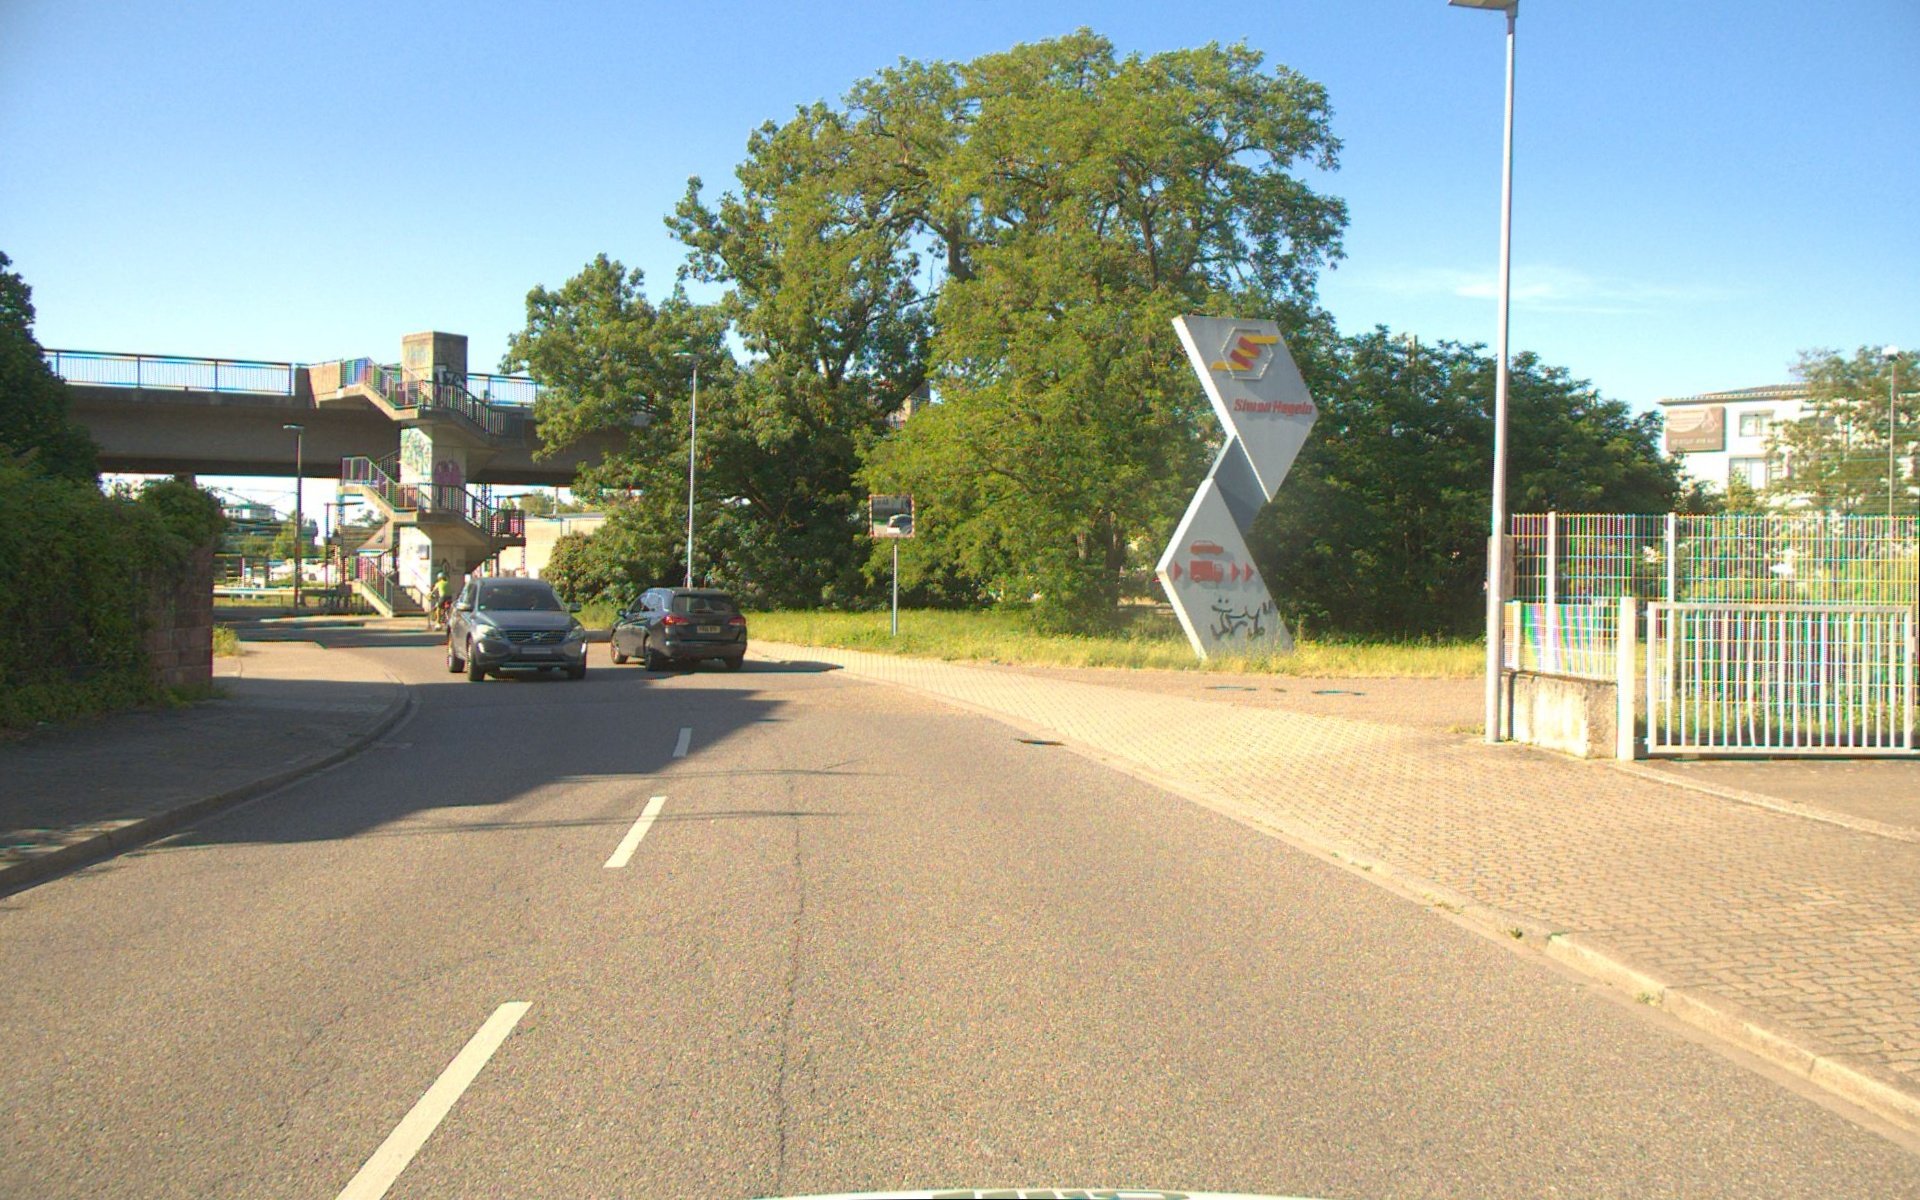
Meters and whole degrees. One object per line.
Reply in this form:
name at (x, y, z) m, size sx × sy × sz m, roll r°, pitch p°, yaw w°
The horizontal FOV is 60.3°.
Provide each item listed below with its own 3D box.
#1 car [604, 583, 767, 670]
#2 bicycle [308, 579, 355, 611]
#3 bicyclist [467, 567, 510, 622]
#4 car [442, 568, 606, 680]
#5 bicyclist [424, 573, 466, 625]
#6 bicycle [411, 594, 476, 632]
car at (-5.258, 0.440, 31.184) m, size 1.917 × 1.515 × 4.530 m, roll 0°, pitch 1°, yaw -25°
bicycle at (-24.216, -0.191, 63.721) m, size 2.136 × 1.203 × 0.597 m, roll 1°, pitch 1°, yaw 34°
bicyclist at (-13.231, -0.166, 46.407) m, size 0.907 × 1.514 × 0.838 m, roll 1°, pitch 1°, yaw 42°
car at (-7.490, 0.349, 28.124) m, size 1.968 × 1.725 × 4.530 m, roll 0°, pitch 1°, yaw -25°
bicyclist at (-15.314, -0.047, 49.190) m, size 0.906 × 1.514 × 0.839 m, roll 1°, pitch 1°, yaw 39°
bicycle at (-15.397, 0.372, 49.279) m, size 2.150 × 1.070 × 0.839 m, roll 1°, pitch 1°, yaw 41°
